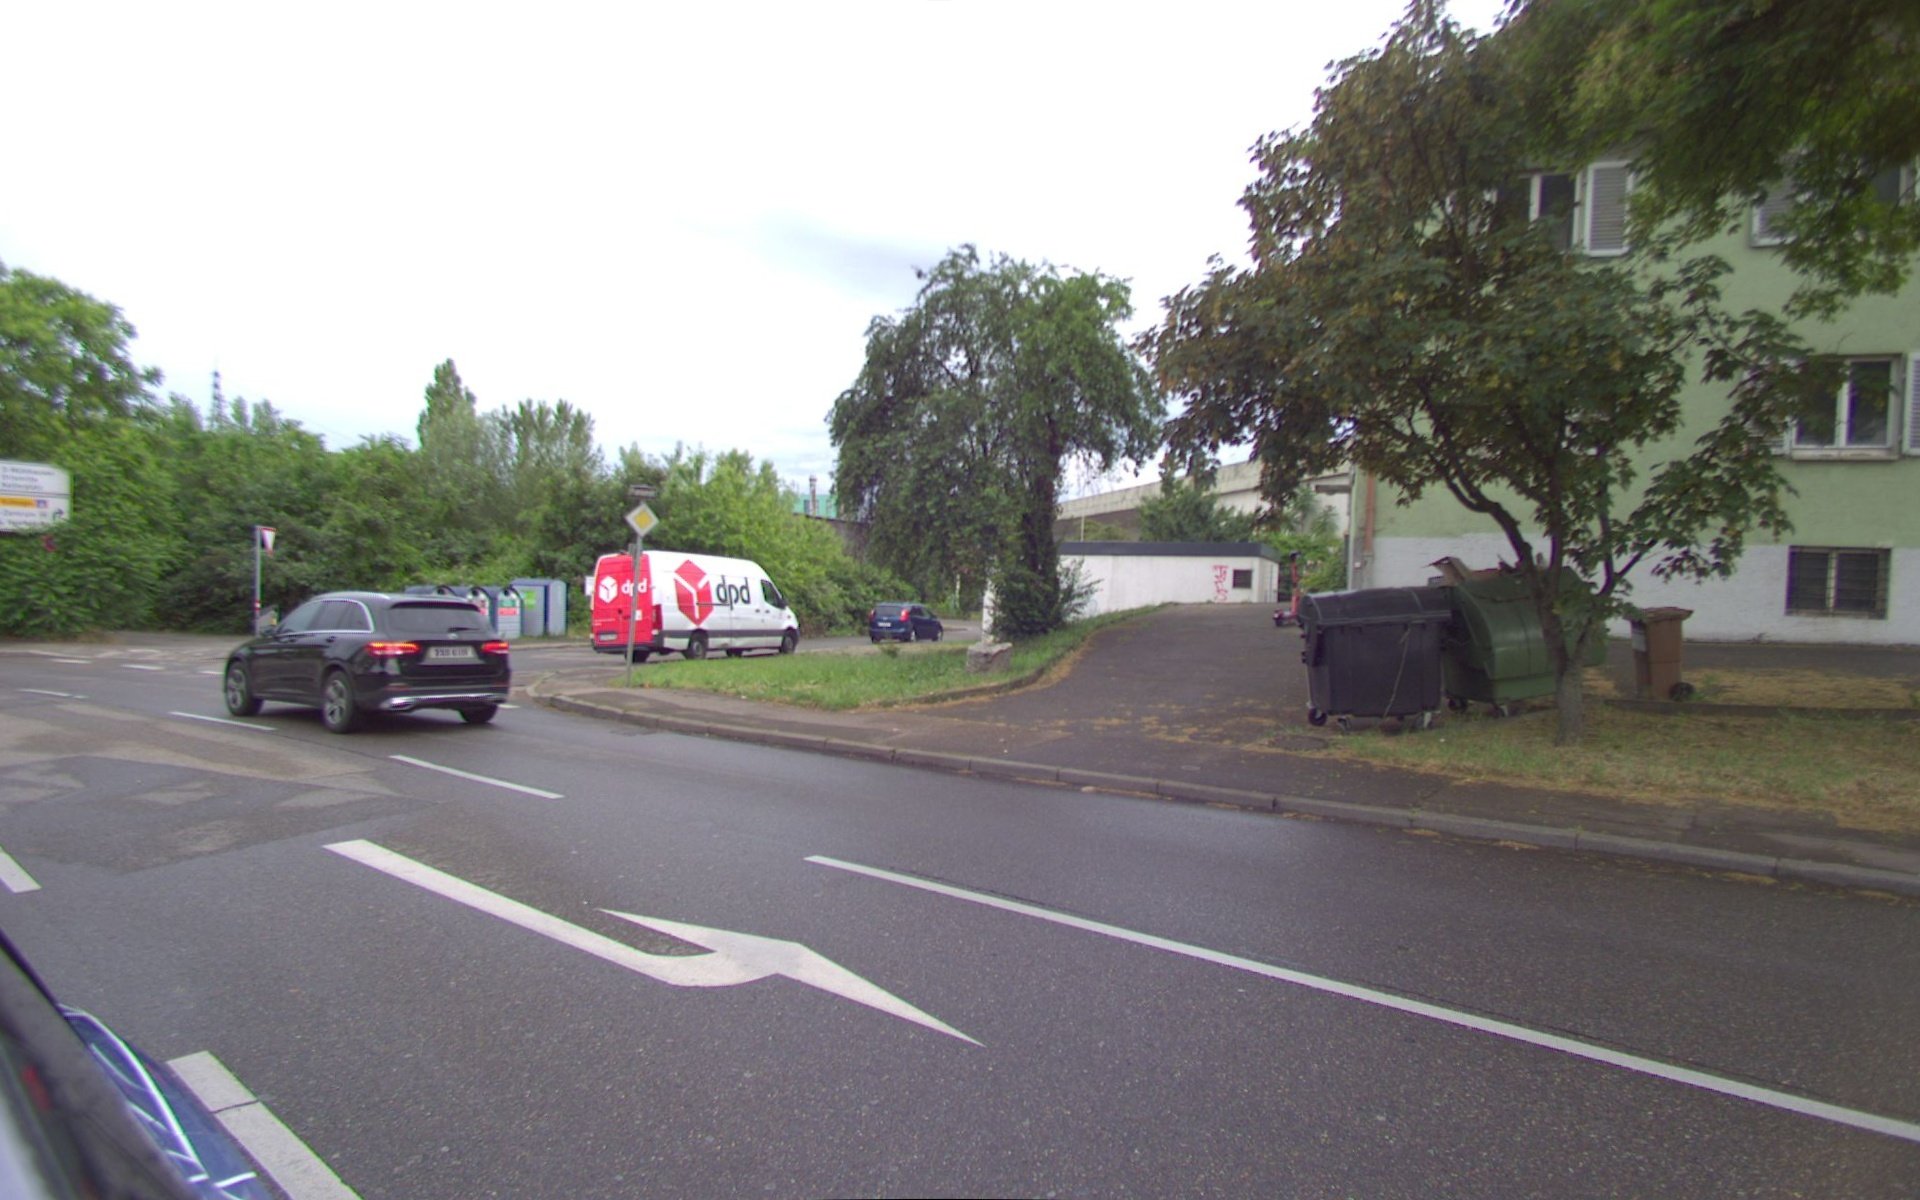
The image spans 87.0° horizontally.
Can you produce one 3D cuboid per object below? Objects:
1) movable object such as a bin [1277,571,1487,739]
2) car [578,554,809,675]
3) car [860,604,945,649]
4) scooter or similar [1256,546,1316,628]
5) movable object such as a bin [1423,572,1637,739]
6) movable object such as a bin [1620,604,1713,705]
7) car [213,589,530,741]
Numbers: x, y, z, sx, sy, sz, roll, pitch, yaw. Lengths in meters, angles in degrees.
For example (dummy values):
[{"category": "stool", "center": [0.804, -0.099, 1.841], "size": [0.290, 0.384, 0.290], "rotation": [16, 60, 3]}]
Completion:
[{"category": "movable object such as a bin", "center": [4.251, 0.502, 10.323], "size": [1.440, 1.448, 1.296], "rotation": [-5, 3, -6]}, {"category": "car", "center": [-6.508, 0.300, 25.900], "size": [2.246, 2.675, 6.777], "rotation": [1, 0, 20]}, {"category": "car", "center": [-2.228, 0.994, 40.391], "size": [1.984, 1.642, 4.228], "rotation": [1, 1, 18]}, {"category": "scooter or similar", "center": [5.527, -0.240, 17.129], "size": [0.529, 1.283, 1.507], "rotation": [1, 4, 35]}, {"category": "movable object such as a bin", "center": [5.707, 0.512, 10.214], "size": [1.440, 1.448, 1.102], "rotation": [-5, 3, -6]}, {"category": "movable object such as a bin", "center": [7.208, 0.534, 10.328], "size": [0.723, 0.964, 0.551], "rotation": [1, 0, 41]}, {"category": "car", "center": [-7.638, 0.715, 12.998], "size": [4.425, 1.638, 1.898], "rotation": [-1, -1, 36]}]
